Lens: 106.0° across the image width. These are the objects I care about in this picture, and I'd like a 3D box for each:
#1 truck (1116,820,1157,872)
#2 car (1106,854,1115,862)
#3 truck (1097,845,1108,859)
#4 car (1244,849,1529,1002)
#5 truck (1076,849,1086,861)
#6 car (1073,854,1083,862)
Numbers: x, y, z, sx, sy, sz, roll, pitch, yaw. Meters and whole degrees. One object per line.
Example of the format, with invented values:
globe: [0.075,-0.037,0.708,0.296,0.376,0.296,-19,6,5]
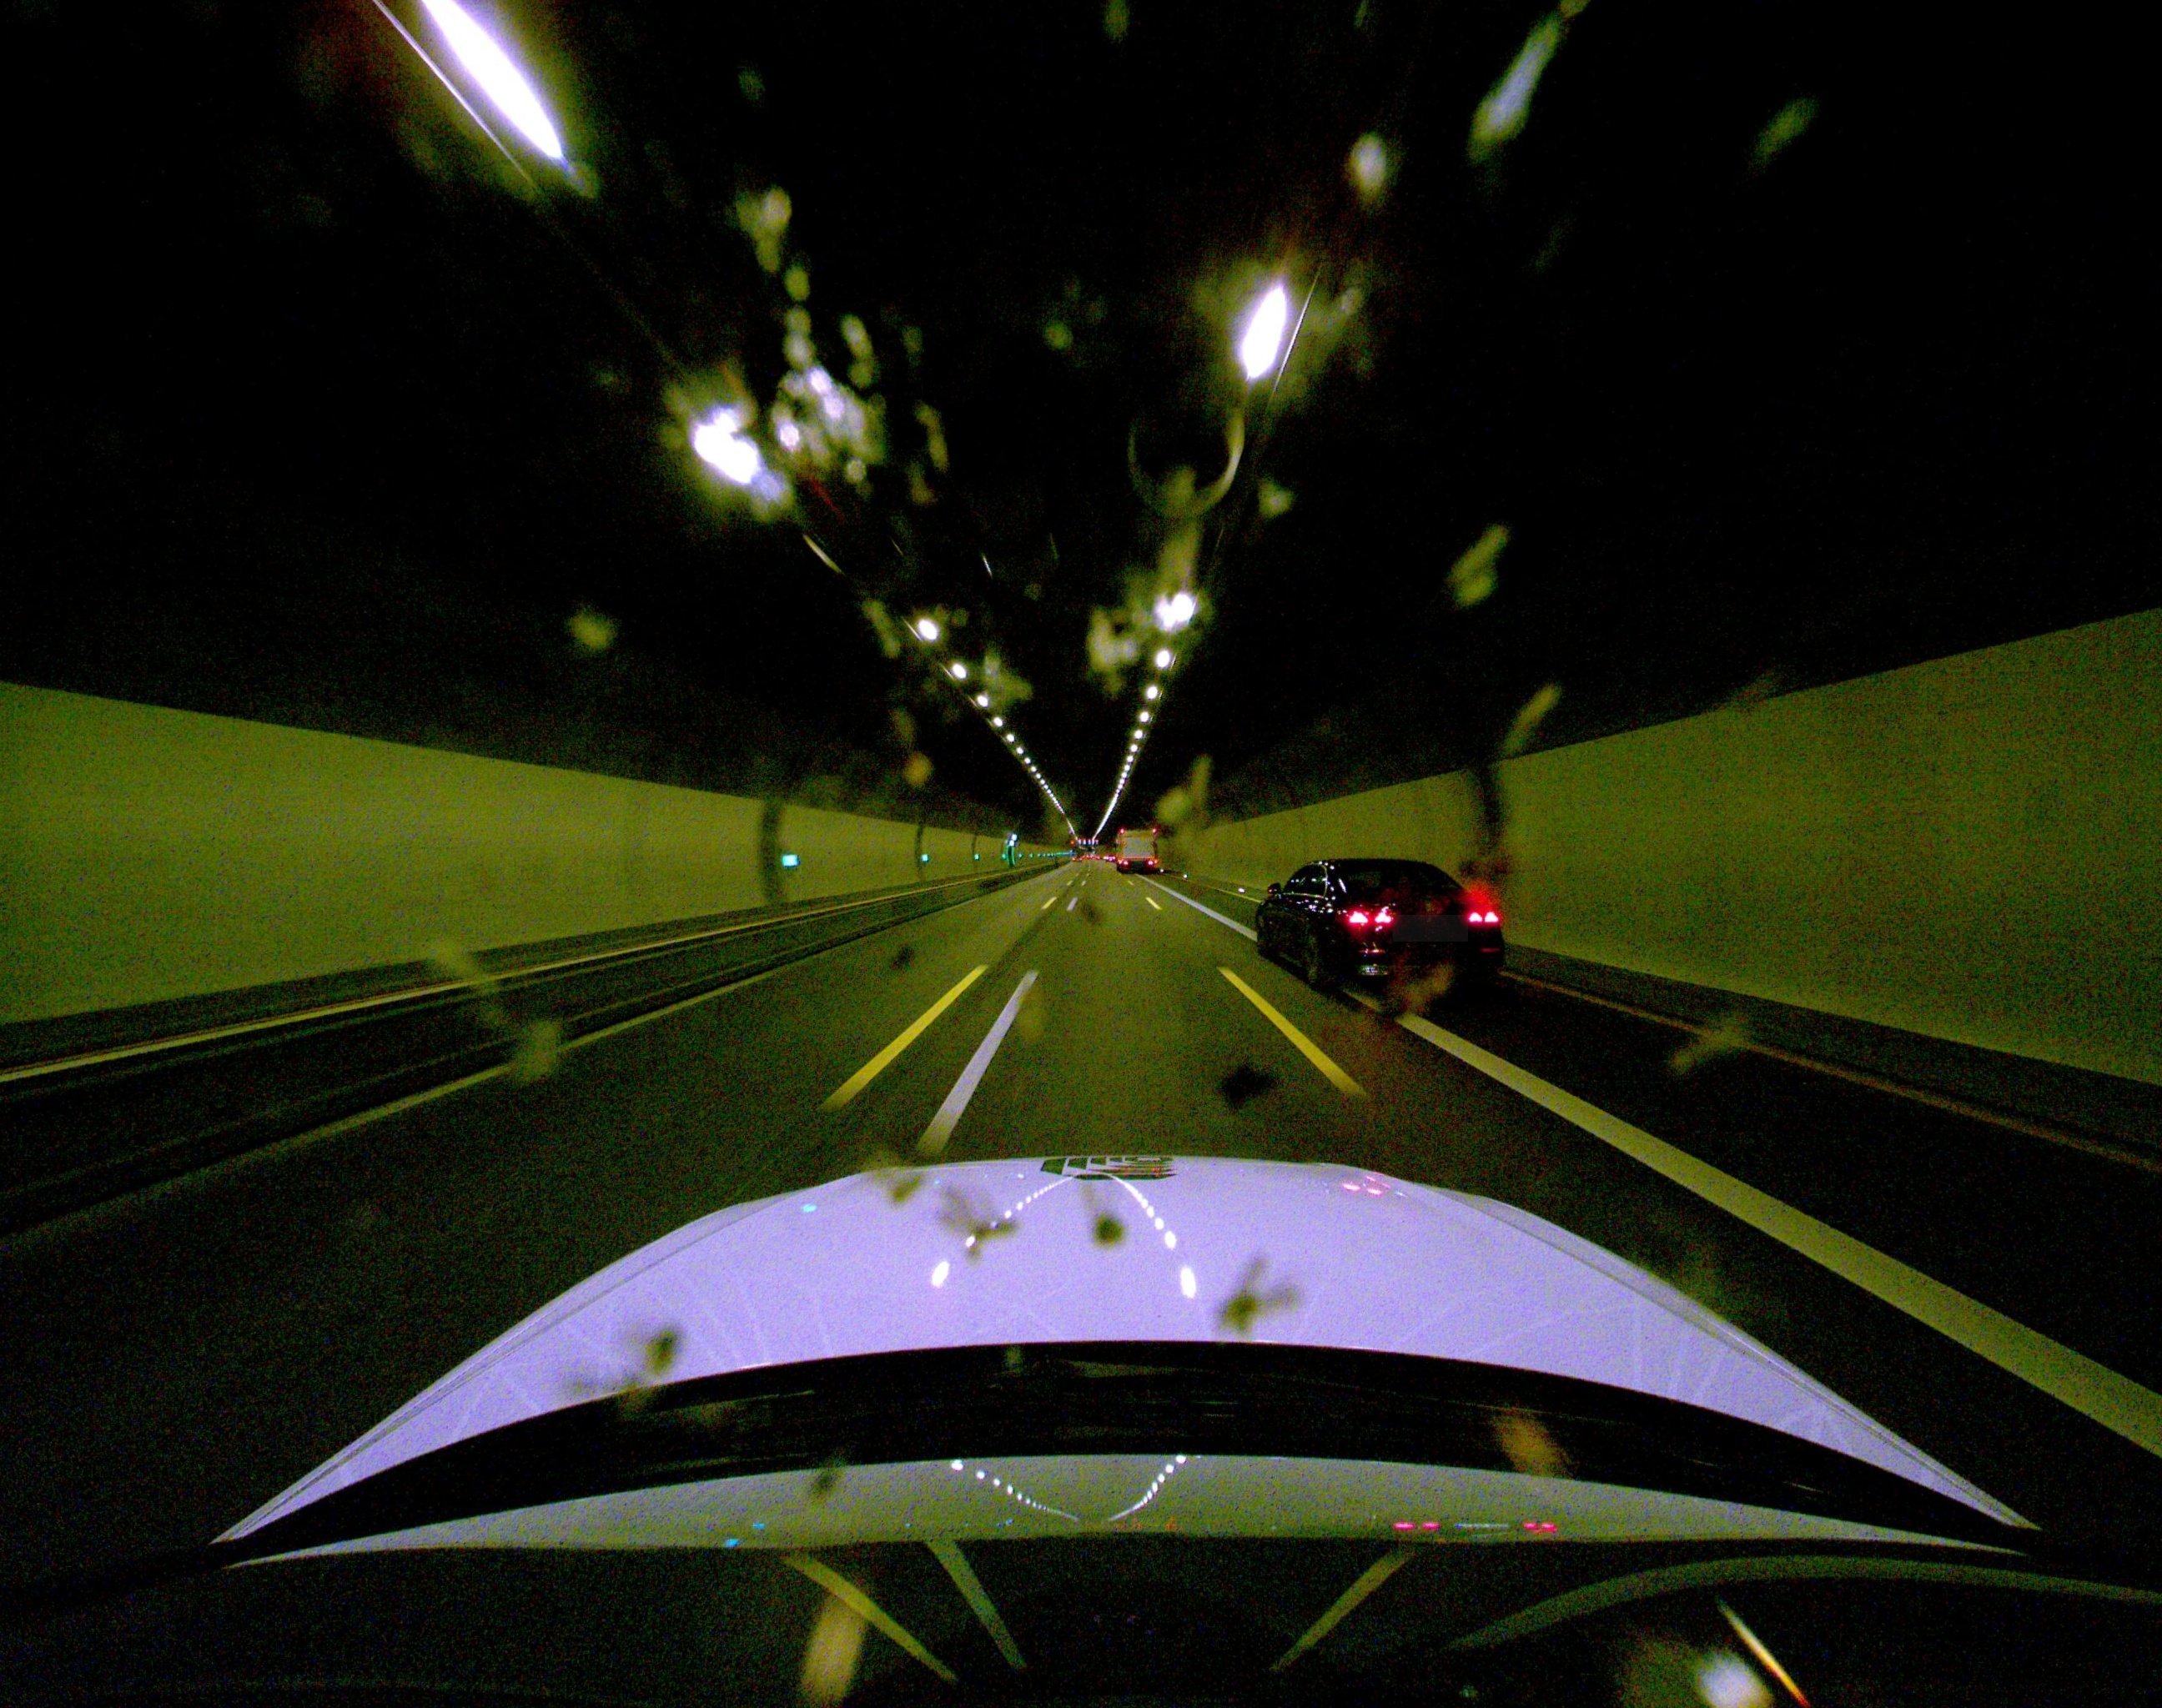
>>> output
truck: [4.537,-0.560,67.404,3.079,3.918,10.376,0,-1,3]
car: [5.615,0.778,155.478,1.733,1.461,3.962,-1,1,2]
truck: [6.275,-0.426,237.012,3.055,3.918,10.371,0,-1,2]
car: [3.483,0.700,10.443,1.918,1.472,4.956,-1,0,2]
truck: [-0.098,0.375,261.587,3.056,3.918,10.366,0,-1,0]
car: [-0.532,0.795,152.558,1.753,1.461,4.119,-1,1,1]
